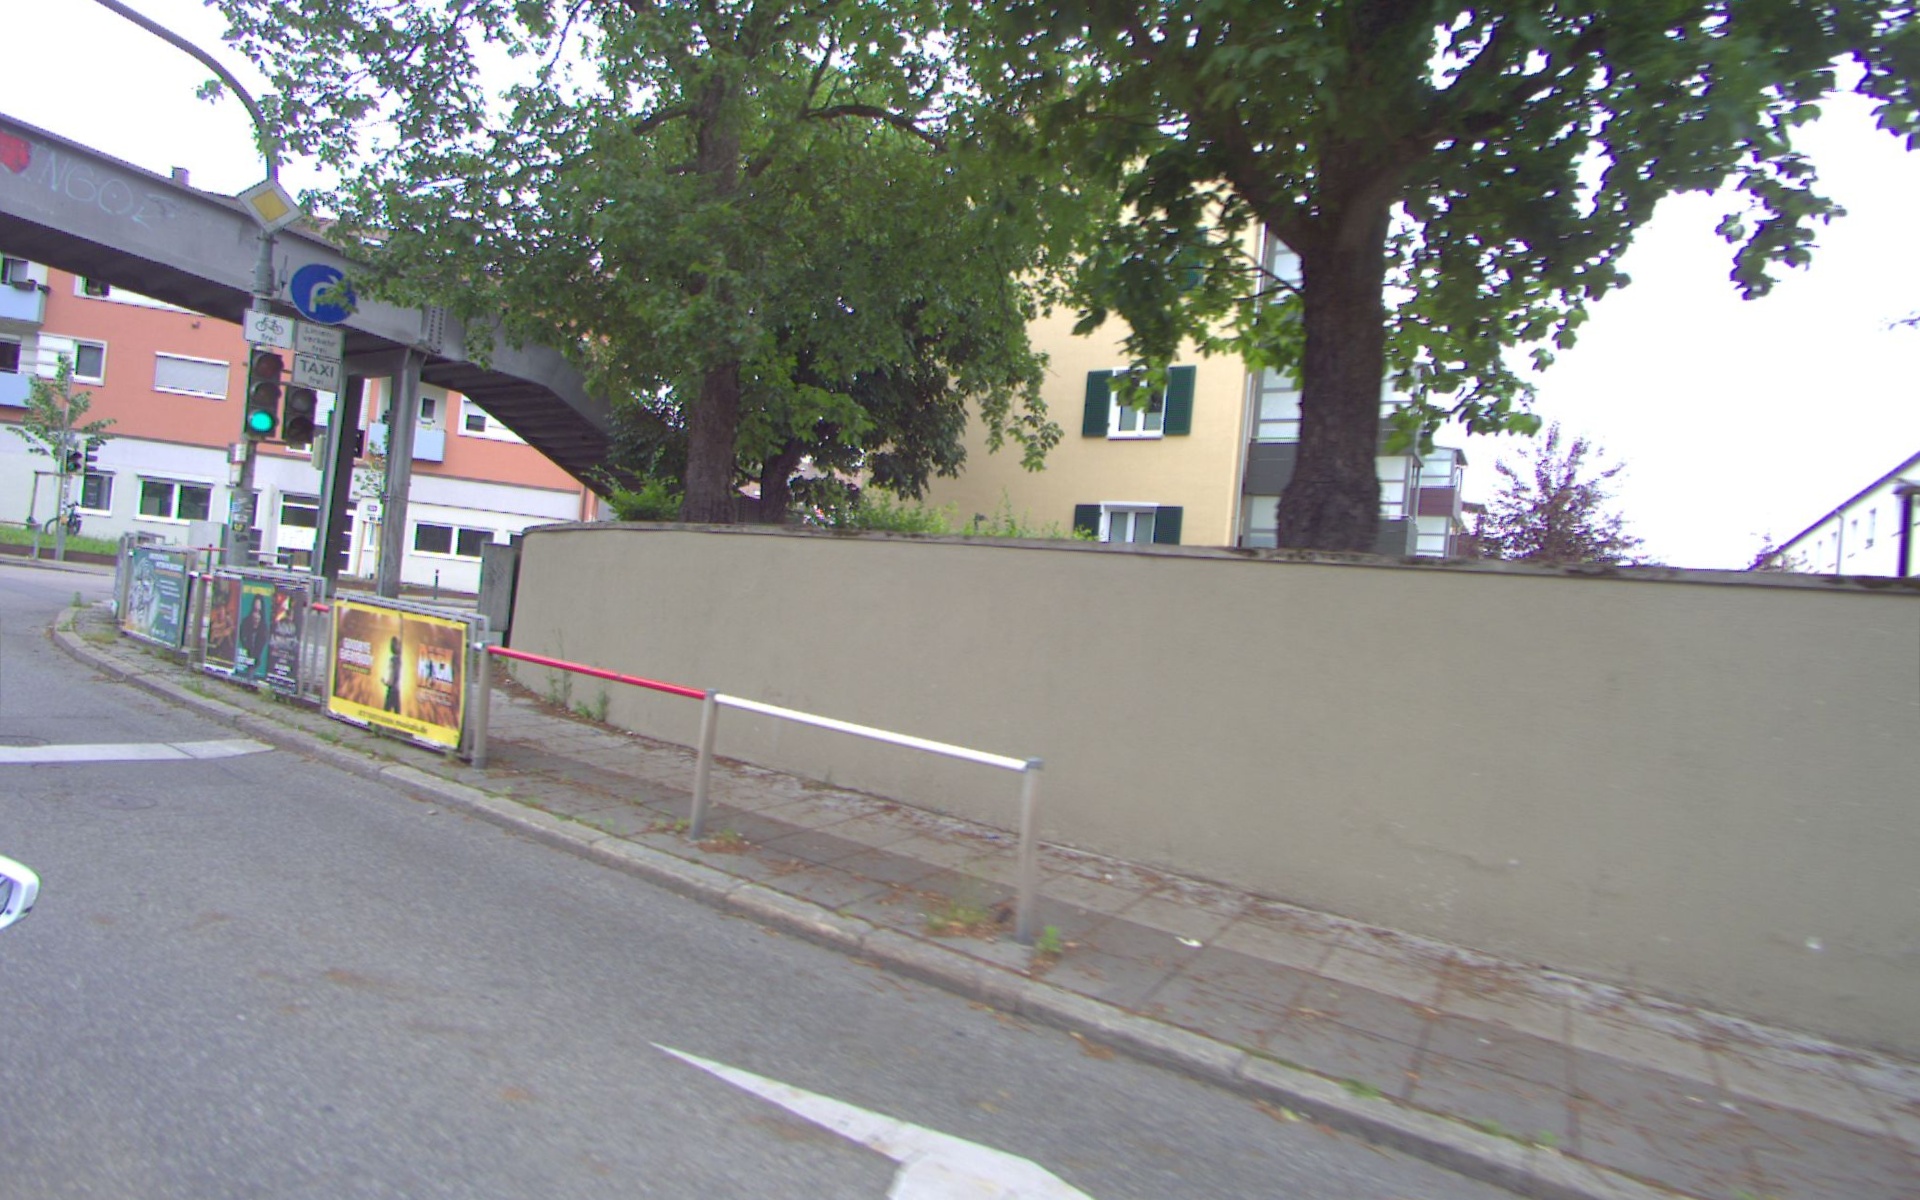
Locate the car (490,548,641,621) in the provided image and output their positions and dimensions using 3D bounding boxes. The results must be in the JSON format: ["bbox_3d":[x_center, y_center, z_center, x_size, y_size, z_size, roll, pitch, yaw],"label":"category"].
[{"bbox_3d":[-12.470,-0.448,31.986,1.803,1.793,3.987,7,-1,36],"label":"car"}]

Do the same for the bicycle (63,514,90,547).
[{"bbox_3d":[-25.901,-2.035,29.503,0.338,0.914,1.727,7,-1,-35],"label":"bicycle"}]
